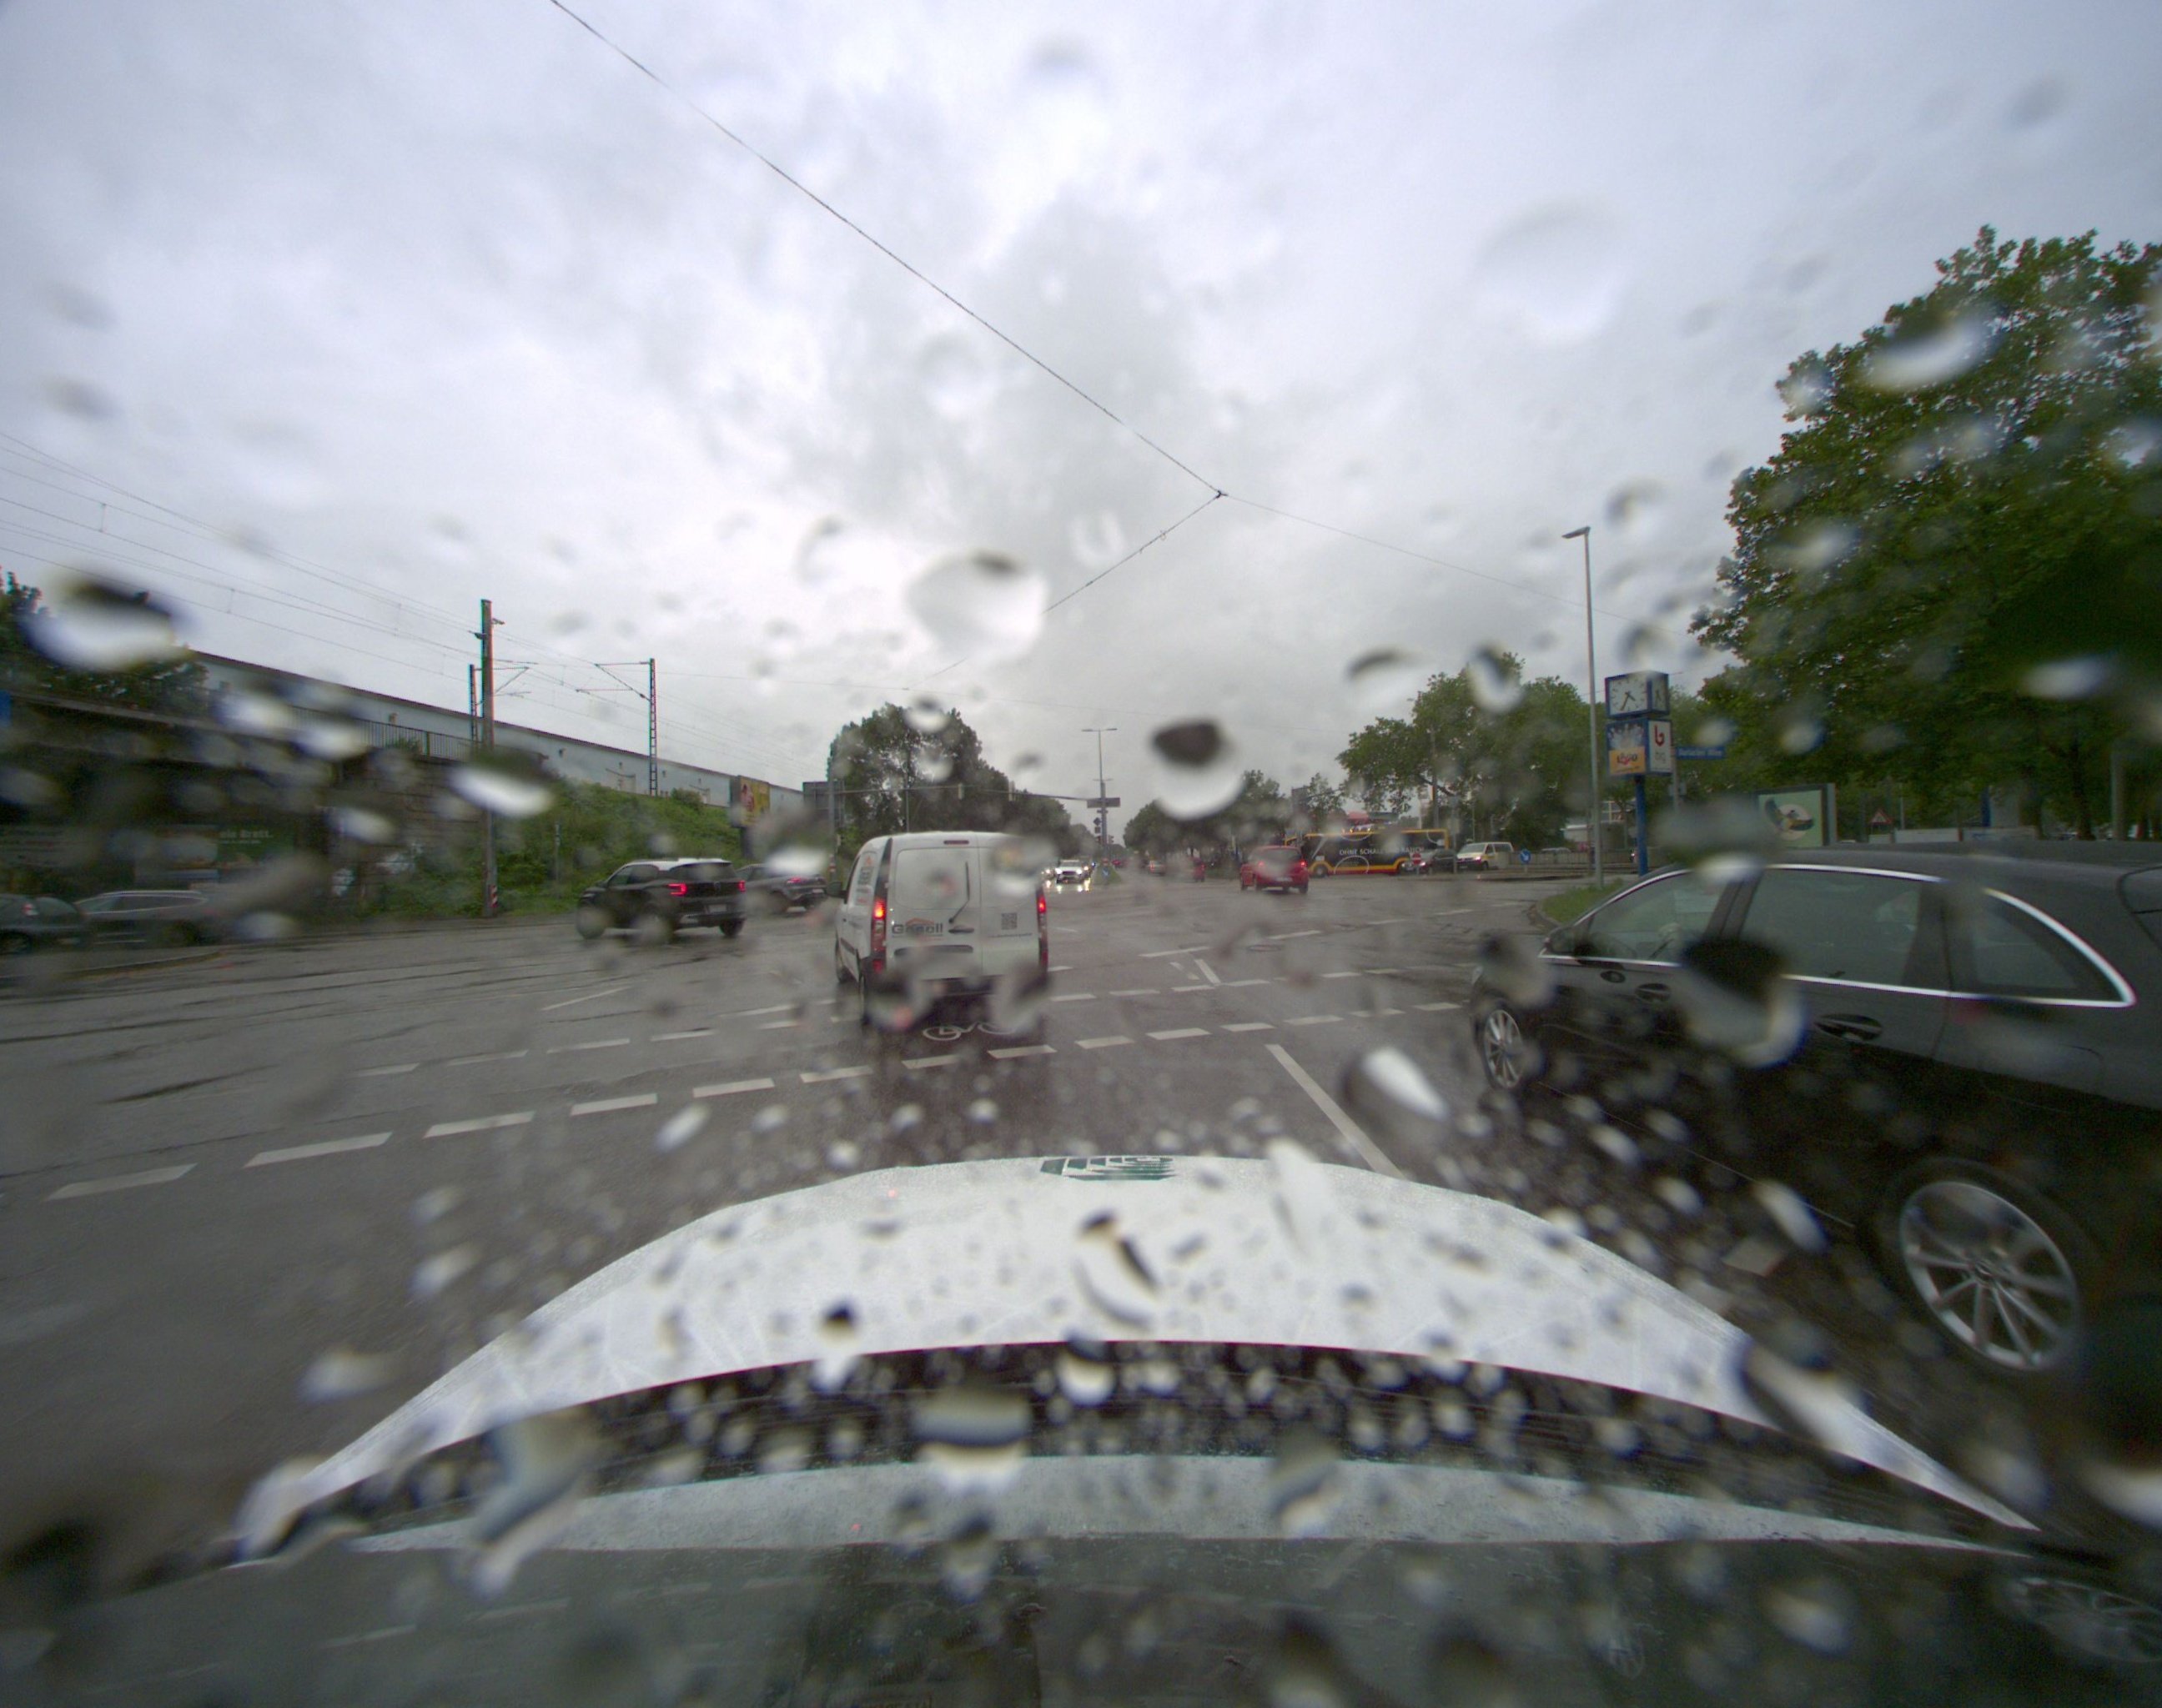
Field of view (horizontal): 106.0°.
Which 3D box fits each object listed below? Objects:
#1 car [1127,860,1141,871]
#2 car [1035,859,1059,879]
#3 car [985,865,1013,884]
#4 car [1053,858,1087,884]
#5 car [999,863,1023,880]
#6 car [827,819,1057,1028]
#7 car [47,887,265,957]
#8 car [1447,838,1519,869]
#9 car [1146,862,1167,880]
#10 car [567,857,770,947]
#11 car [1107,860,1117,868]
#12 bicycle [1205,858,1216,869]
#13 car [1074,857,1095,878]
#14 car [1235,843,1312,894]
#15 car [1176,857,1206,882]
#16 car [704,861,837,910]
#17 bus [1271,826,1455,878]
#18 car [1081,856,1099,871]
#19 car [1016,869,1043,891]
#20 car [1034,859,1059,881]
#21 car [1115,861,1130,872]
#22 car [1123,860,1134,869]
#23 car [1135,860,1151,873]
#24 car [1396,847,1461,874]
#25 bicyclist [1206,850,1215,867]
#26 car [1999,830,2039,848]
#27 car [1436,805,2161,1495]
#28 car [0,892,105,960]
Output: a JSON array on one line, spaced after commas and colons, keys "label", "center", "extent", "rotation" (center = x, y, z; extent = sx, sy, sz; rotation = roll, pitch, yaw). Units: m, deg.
[{"label": "car", "center": [8.371, 1.862, 129.567], "extent": [1.990, 1.618, 4.000], "rotation": [-2, 0, 1]}, {"label": "car", "center": [-3.103, 1.322, 75.249], "extent": [1.838, 1.720, 4.001], "rotation": [-2, 0, 1]}, {"label": "car", "center": [-6.406, 1.559, 63.905], "extent": [1.821, 1.358, 3.999], "rotation": [-2, 0, 0]}, {"label": "car", "center": [-0.745, 1.212, 59.708], "extent": [2.160, 1.720, 4.306], "rotation": [-2, 0, 3]}, {"label": "car", "center": [-6.108, 1.505, 71.459], "extent": [1.822, 1.358, 3.998], "rotation": [-2, 0, -1]}, {"label": "car", "center": [-1.764, 0.599, 9.110], "extent": [1.762, 1.777, 3.971], "rotation": [0, 0, -21]}, {"label": "car", "center": [-23.487, 1.671, 20.856], "extent": [3.369, 1.473, 1.552], "rotation": [-2, 0, -35]}, {"label": "car", "center": [25.656, -0.035, 51.935], "extent": [4.767, 1.849, 2.055], "rotation": [-2, -1, -35]}, {"label": "car", "center": [7.287, 1.621, 78.772], "extent": [1.835, 1.618, 4.002], "rotation": [0, -1, 3]}, {"label": "car", "center": [-8.550, 0.946, 16.825], "extent": [3.948, 1.609, 1.936], "rotation": [-2, 0, 32]}, {"label": "car", "center": [6.762, 2.235, 177.647], "extent": [1.990, 1.618, 4.000], "rotation": [-2, 0, 1]}, {"label": "bicycle", "center": [15.081, 1.099, 94.564], "extent": [0.817, 1.165, 2.258], "rotation": [-2, 0, -2]}, {"label": "car", "center": [0.287, 1.170, 71.097], "extent": [1.595, 1.720, 3.998], "rotation": [-2, 0, -1]}, {"label": "car", "center": [6.081, 0.452, 26.099], "extent": [1.672, 1.491, 3.622], "rotation": [-1, 0, 1]}, {"label": "car", "center": [7.300, 1.001, 54.330], "extent": [1.626, 1.656, 3.485], "rotation": [0, 0, 1]}, {"label": "car", "center": [-9.157, 0.920, 24.140], "extent": [3.228, 1.283, 1.690], "rotation": [-2, 0, 8]}, {"label": "bus", "center": [20.387, -0.133, 59.364], "extent": [12.209, 3.268, 3.274], "rotation": [-2, -1, 0]}, {"label": "car", "center": [1.057, 1.090, 97.134], "extent": [1.933, 1.720, 3.997], "rotation": [-2, 0, -2]}, {"label": "car", "center": [-3.696, 1.820, 57.957], "extent": [1.824, 1.358, 3.993], "rotation": [-2, 0, -5]}, {"label": "car", "center": [-2.904, 1.297, 68.930], "extent": [1.858, 1.720, 3.999], "rotation": [-2, 0, 0]}, {"label": "car", "center": [6.106, 1.805, 118.973], "extent": [1.990, 1.618, 4.000], "rotation": [-2, 0, 1]}, {"label": "car", "center": [9.978, 2.207, 171.655], "extent": [1.990, 1.618, 4.000], "rotation": [-2, 0, 1]}, {"label": "car", "center": [8.514, 1.736, 111.980], "extent": [1.990, 1.618, 4.000], "rotation": [-2, 0, 1]}, {"label": "car", "center": [22.691, 0.419, 53.167], "extent": [4.361, 1.651, 1.912], "rotation": [-2, -1, -36]}, {"label": "bicyclist", "center": [15.056, 0.553, 94.622], "extent": [0.766, 1.881, 0.621], "rotation": [-2, -1, -3]}, {"label": "car", "center": [86.179, -1.401, 74.840], "extent": [4.015, 1.552, 1.823], "rotation": [-2, 0, -33]}, {"label": "car", "center": [3.368, 0.633, 3.647], "extent": [1.863, 1.523, 4.089], "rotation": [-2, 0, 2]}, {"label": "car", "center": [-23.432, 1.565, 17.058], "extent": [3.461, 1.306, 1.571], "rotation": [-2, 0, -22]}]
